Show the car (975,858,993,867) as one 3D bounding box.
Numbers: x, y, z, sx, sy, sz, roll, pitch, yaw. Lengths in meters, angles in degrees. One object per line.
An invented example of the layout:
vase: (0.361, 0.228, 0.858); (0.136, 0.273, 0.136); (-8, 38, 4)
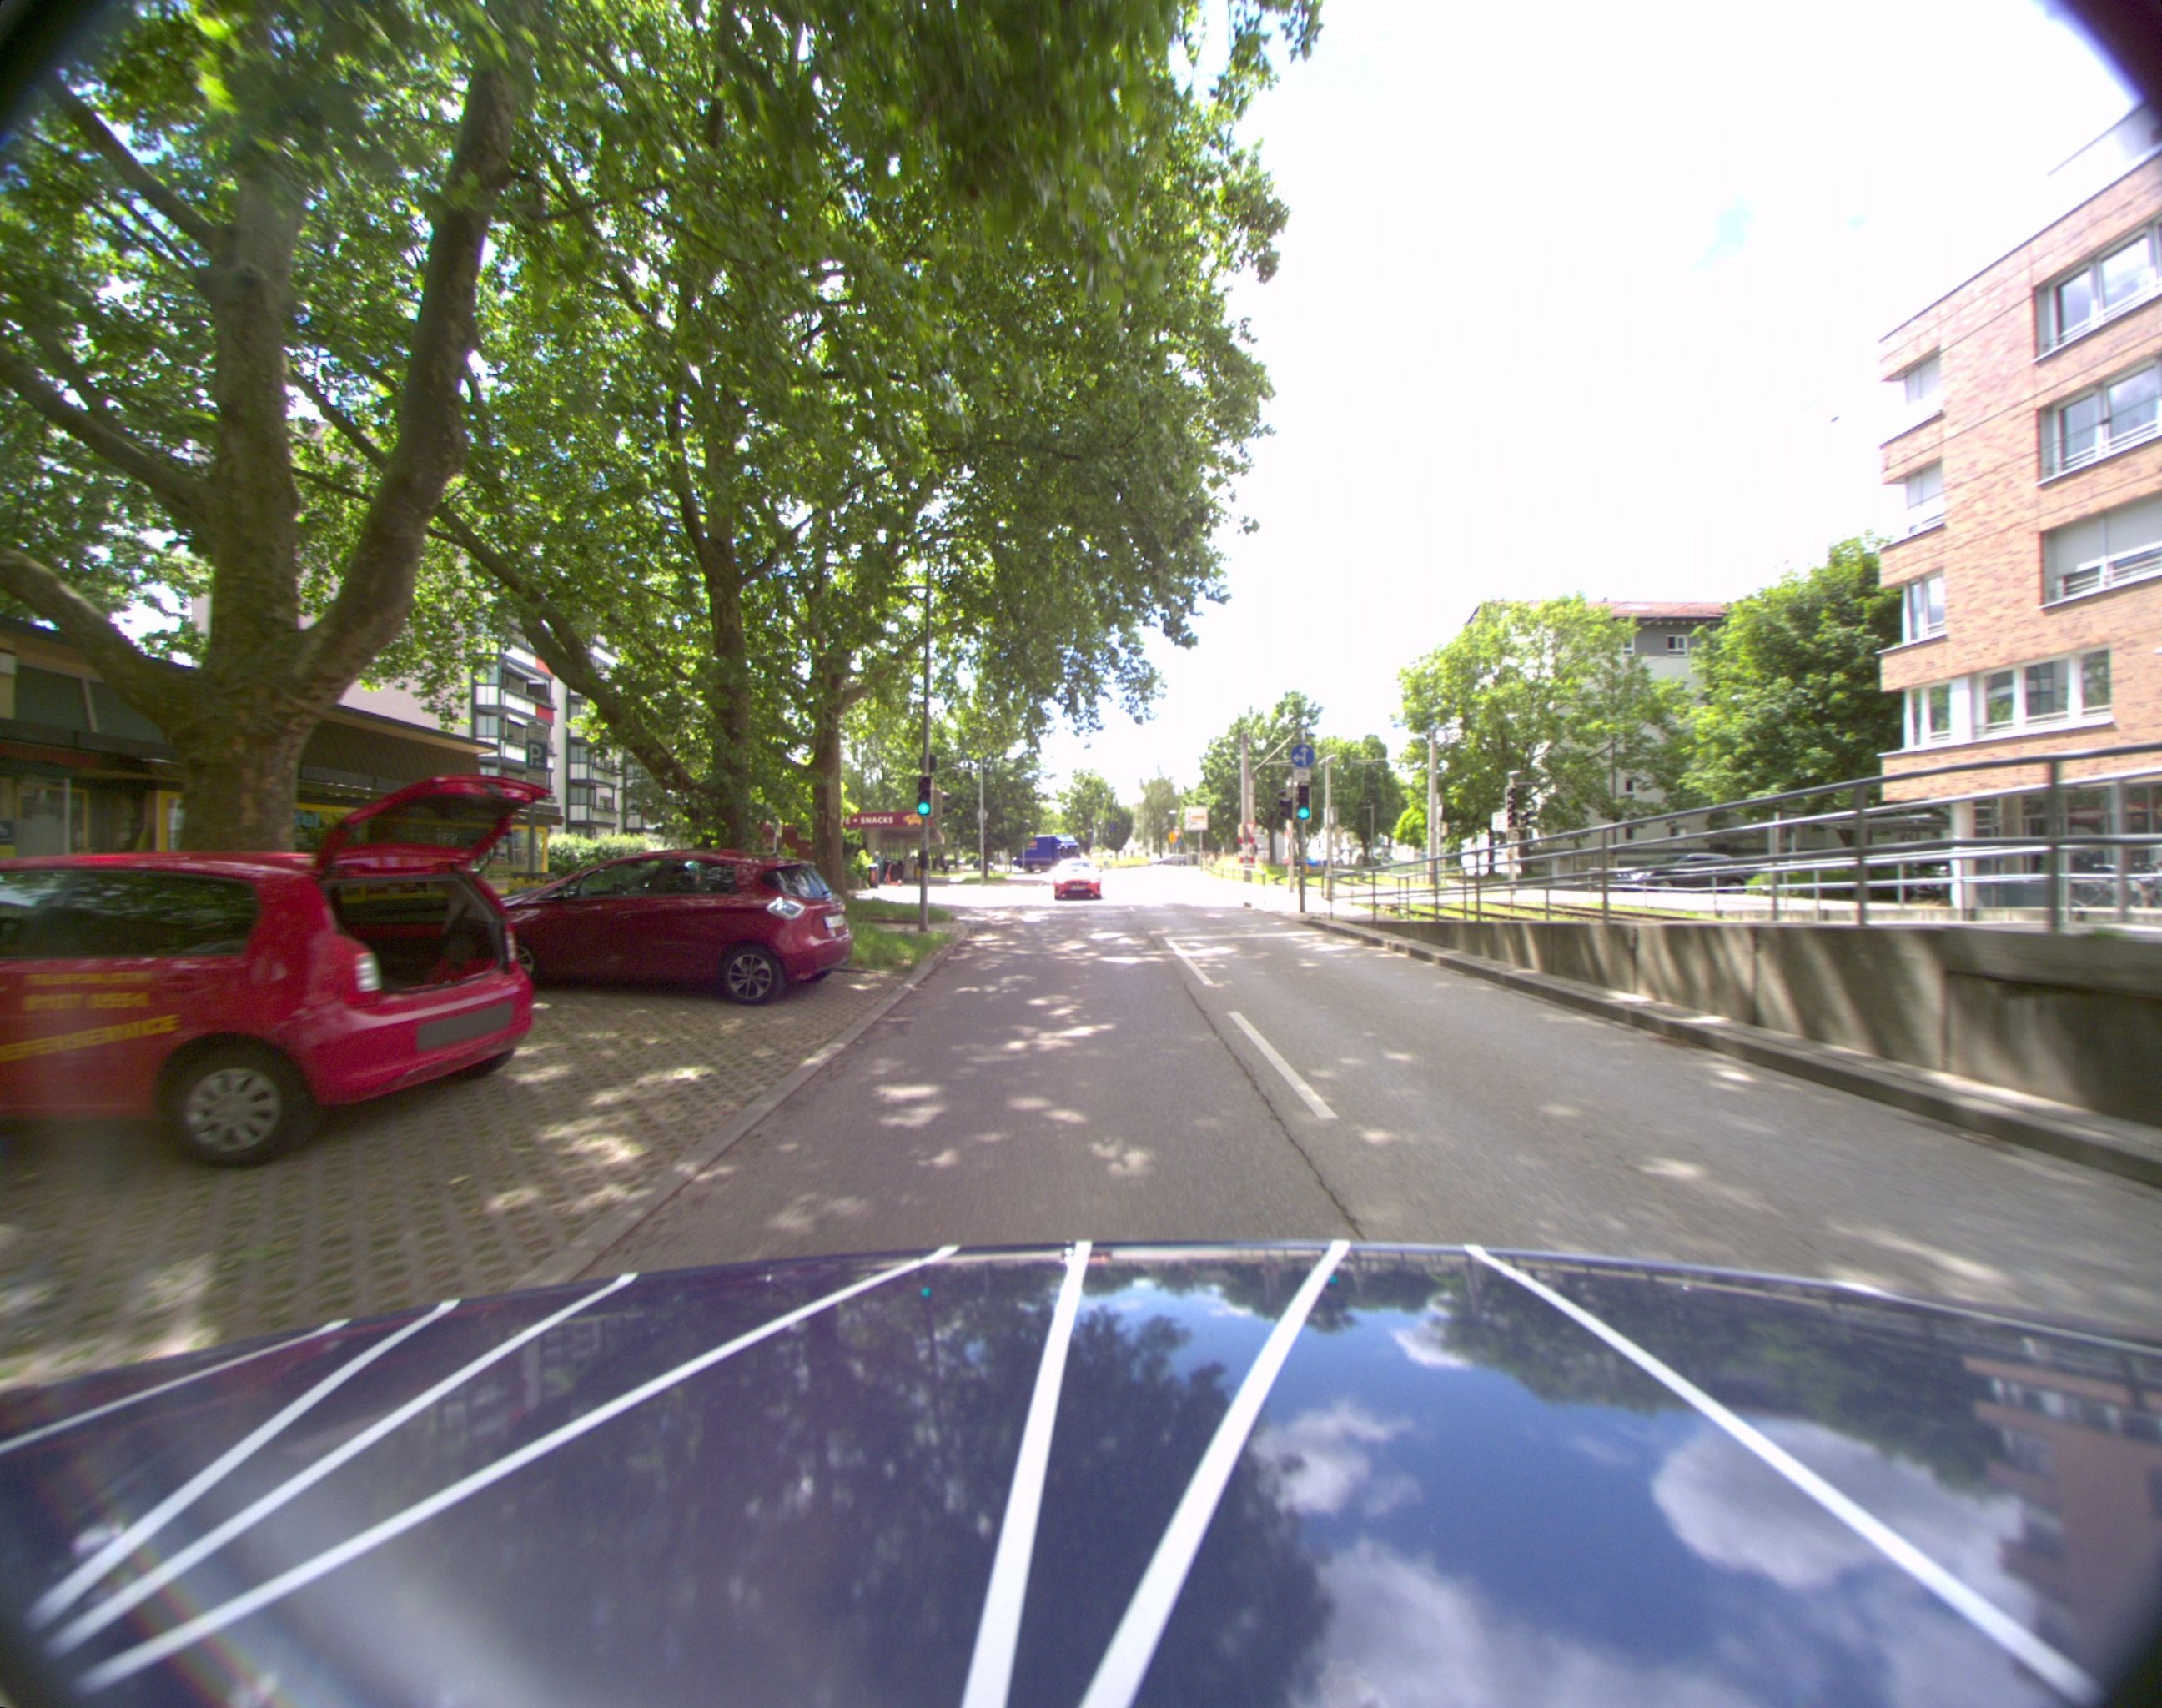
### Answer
car: (-14.025, 1.190, 109.858); (1.811, 1.346, 3.993); (0, 0, -20)

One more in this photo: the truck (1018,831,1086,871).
truck: (-3.322, -0.298, 83.115); (2.636, 4.069, 9.584); (0, 0, -34)

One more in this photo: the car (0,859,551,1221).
car: (-5.206, 0.846, 4.143); (3.416, 1.506, 1.610); (2, 0, -3)

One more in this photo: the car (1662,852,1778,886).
car: (30.575, 0.677, 36.555); (1.860, 1.546, 4.108); (0, 1, -7)

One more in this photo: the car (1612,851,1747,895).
car: (22.251, 0.693, 28.330); (3.680, 1.468, 1.588); (2, 0, 3)

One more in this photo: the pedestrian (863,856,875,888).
pedestrian: (-10.549, 0.889, 37.861); (0.444, 1.622, 0.399); (-1, 1, -41)

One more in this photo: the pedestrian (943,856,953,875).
pedestrian: (-10.795, 0.935, 61.864); (0.726, 1.529, 0.654); (0, 0, -3)

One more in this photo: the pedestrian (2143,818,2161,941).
pedestrian: (16.420, 0.375, 11.060); (0.745, 1.814, 0.829); (0, 0, 0)

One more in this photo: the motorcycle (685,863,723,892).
motorcycle: (-16.172, 0.974, 32.593); (2.132, 1.188, 0.741); (0, 0, 43)

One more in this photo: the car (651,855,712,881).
car: (-21.709, 0.726, 41.410); (1.749, 1.334, 3.487); (0, 0, -6)

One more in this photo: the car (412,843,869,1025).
car: (-4.661, 0.781, 8.418); (4.038, 1.602, 1.731); (3, 1, 3)

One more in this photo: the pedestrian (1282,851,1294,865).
pedestrian: (23.806, 0.481, 87.358); (0.877, 1.655, 1.020); (0, 0, -28)

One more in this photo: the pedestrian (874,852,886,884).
pedestrian: (-10.099, 0.705, 38.089); (0.444, 1.622, 0.399); (-1, 1, -41)

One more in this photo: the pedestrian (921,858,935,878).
pedestrian: (-9.889, 0.897, 49.220); (0.677, 1.259, 0.674); (2, 0, 4)

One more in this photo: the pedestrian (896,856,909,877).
pedestrian: (-11.383, 0.789, 48.465); (0.677, 1.259, 0.673); (2, 1, -7)

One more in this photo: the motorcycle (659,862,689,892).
motorcycle: (-17.549, 0.977, 32.749); (0.741, 1.188, 2.132); (0, 1, -40)

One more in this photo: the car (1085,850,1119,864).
car: (2.782, 0.436, 101.959); (2.004, 1.786, 4.605); (0, 0, -43)

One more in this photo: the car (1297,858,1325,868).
car: (32.790, 1.261, 108.439); (1.811, 1.514, 4.116); (0, 0, -21)

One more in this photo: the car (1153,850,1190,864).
car: (11.717, 0.404, 98.355); (4.614, 1.786, 2.000); (0, 0, 3)

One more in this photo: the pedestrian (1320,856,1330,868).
pedestrian: (33.572, 1.072, 104.669); (1.022, 1.655, 0.875); (0, 0, -5)

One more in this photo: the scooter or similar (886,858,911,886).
scooter or similar: (-8.675, 0.858, 36.119); (0.376, 1.300, 1.234); (0, 0, 33)

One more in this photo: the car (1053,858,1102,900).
car: (-0.115, 0.913, 29.184); (1.712, 1.439, 3.670); (-2, 0, 0)
